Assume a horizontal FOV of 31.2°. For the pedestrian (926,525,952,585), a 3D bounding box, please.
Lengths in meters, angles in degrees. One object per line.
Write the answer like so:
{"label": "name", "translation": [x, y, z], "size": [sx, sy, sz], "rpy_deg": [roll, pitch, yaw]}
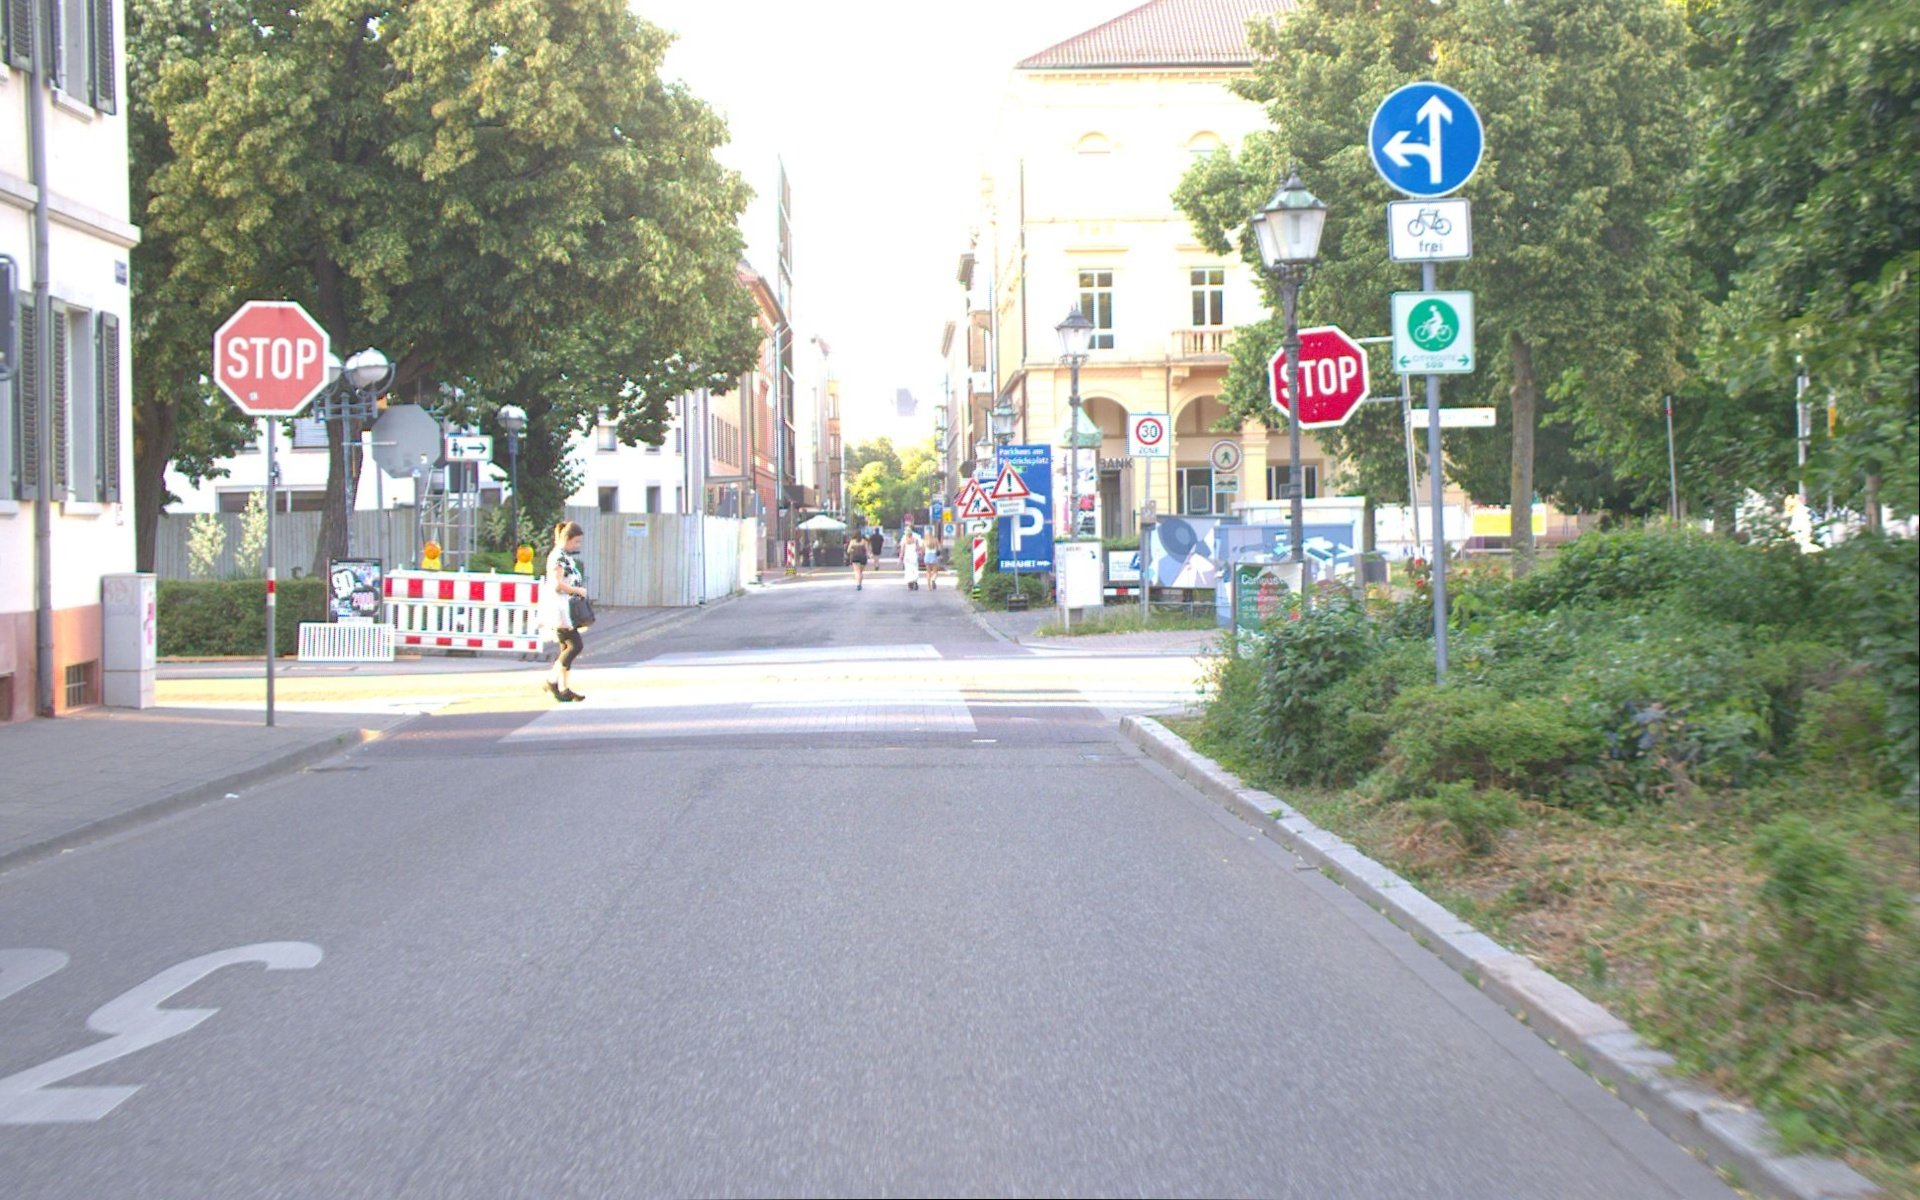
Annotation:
{"label": "pedestrian", "translation": [-0.571, -1.230, 94.203], "size": [0.657, 1.611, 0.745], "rpy_deg": [-1, 1, 0]}

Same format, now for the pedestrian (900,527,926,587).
{"label": "pedestrian", "translation": [-1.293, -1.181, 94.185], "size": [0.657, 1.611, 0.745], "rpy_deg": [-1, 1, 0]}

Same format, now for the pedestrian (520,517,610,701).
{"label": "pedestrian", "translation": [-3.702, 0.077, 32.278], "size": [0.734, 1.683, 0.836], "rpy_deg": [-1, 1, -1]}

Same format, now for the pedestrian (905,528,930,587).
{"label": "pedestrian", "translation": [-1.191, -1.185, 95.642], "size": [0.657, 1.630, 0.745], "rpy_deg": [-1, 1, 0]}

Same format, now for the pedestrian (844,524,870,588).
{"label": "pedestrian", "translation": [-2.858, -1.214, 95.560], "size": [0.657, 1.754, 0.745], "rpy_deg": [-1, 1, 0]}

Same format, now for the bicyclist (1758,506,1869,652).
{"label": "bicyclist", "translation": [9.700, -0.240, 39.078], "size": [1.060, 1.627, 0.596], "rpy_deg": [-1, 1, -10]}
